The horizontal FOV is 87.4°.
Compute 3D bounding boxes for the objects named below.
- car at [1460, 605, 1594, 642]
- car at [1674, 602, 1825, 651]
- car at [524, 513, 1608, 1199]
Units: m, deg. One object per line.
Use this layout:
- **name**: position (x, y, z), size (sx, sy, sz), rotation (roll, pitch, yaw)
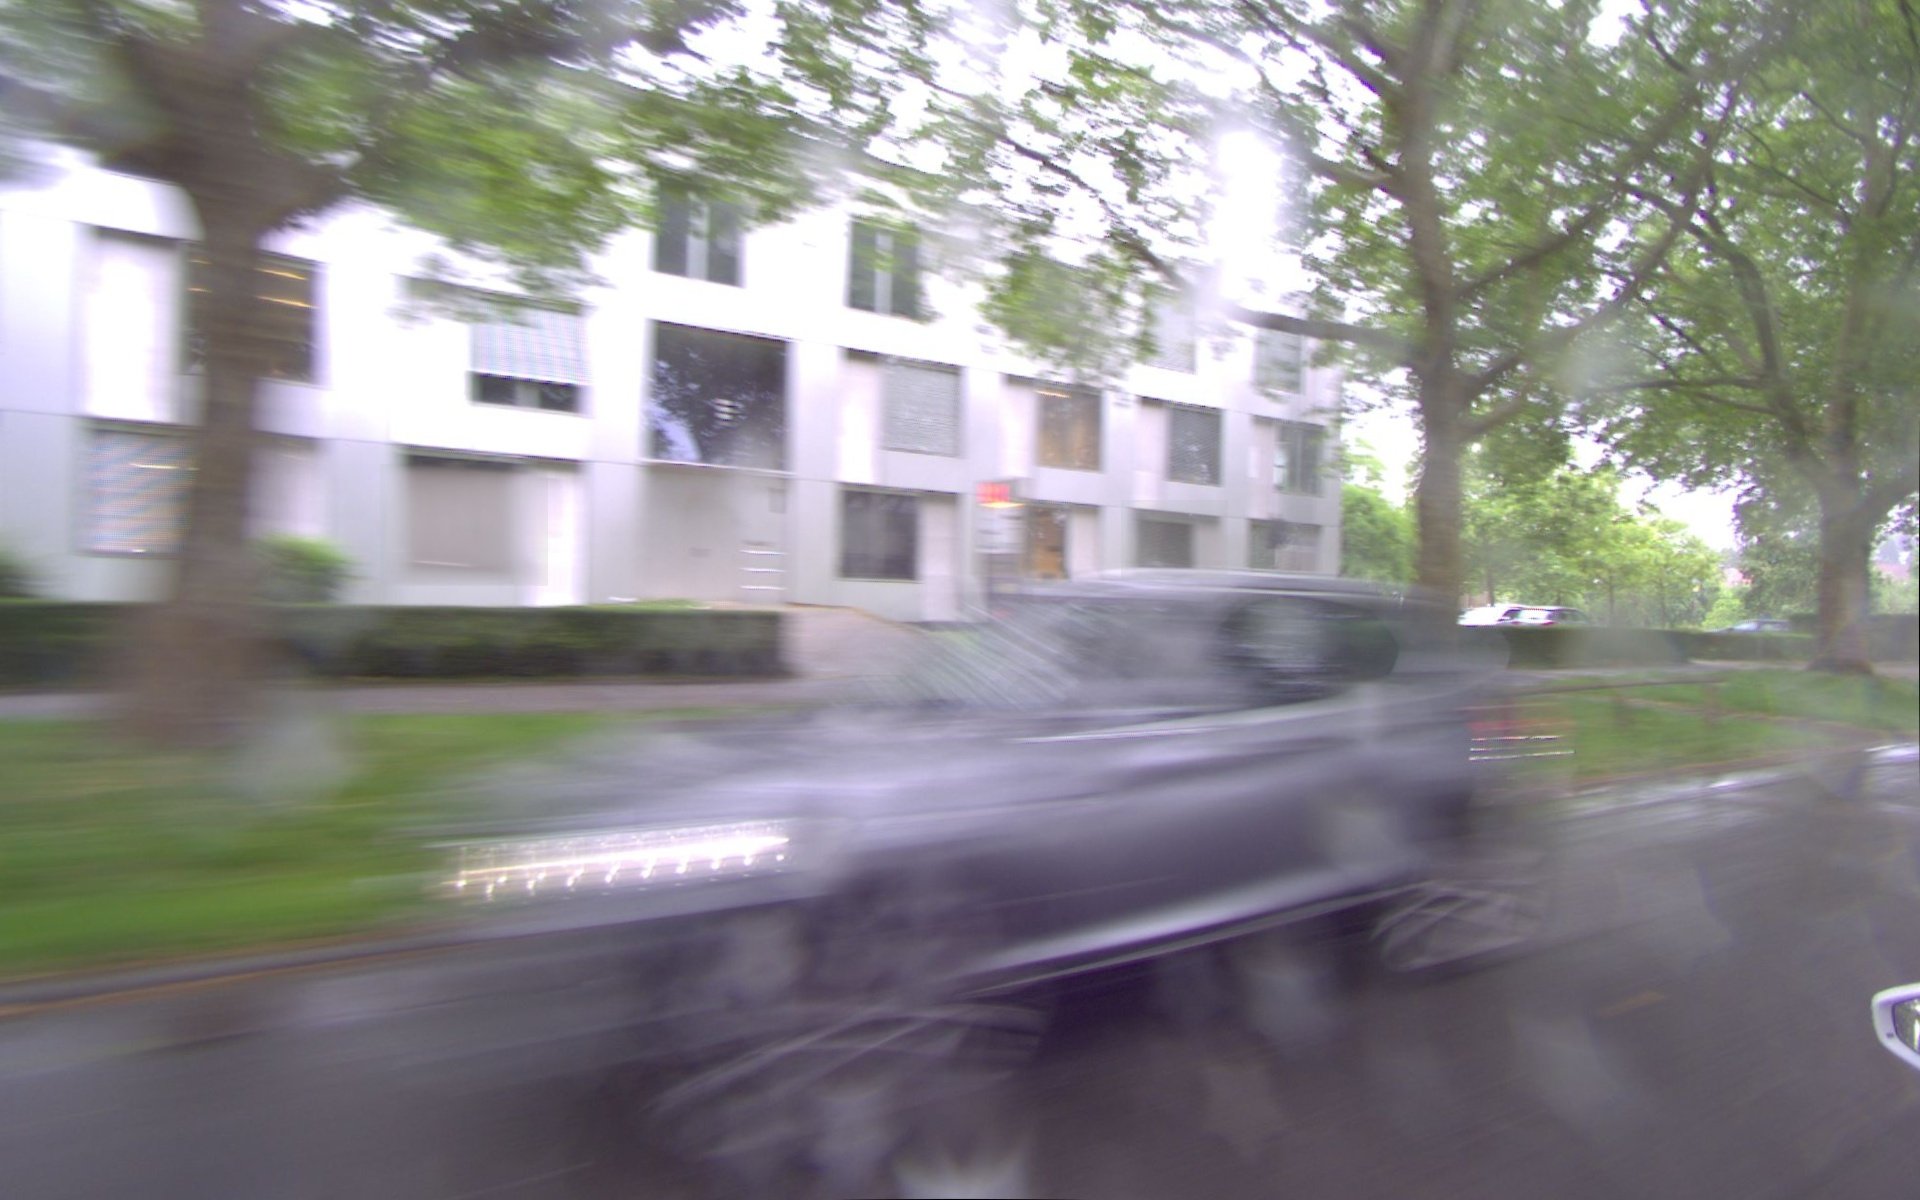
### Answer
- **car**: position (21.450, 0.855, 38.127), size (1.976, 1.150, 3.967), rotation (1, 2, -30)
- **car**: position (29.487, 0.952, 37.635), size (1.976, 1.644, 3.968), rotation (1, 1, -29)
- **car**: position (0.654, 0.688, 4.256), size (4.397, 1.706, 1.800), rotation (1, -1, -31)
